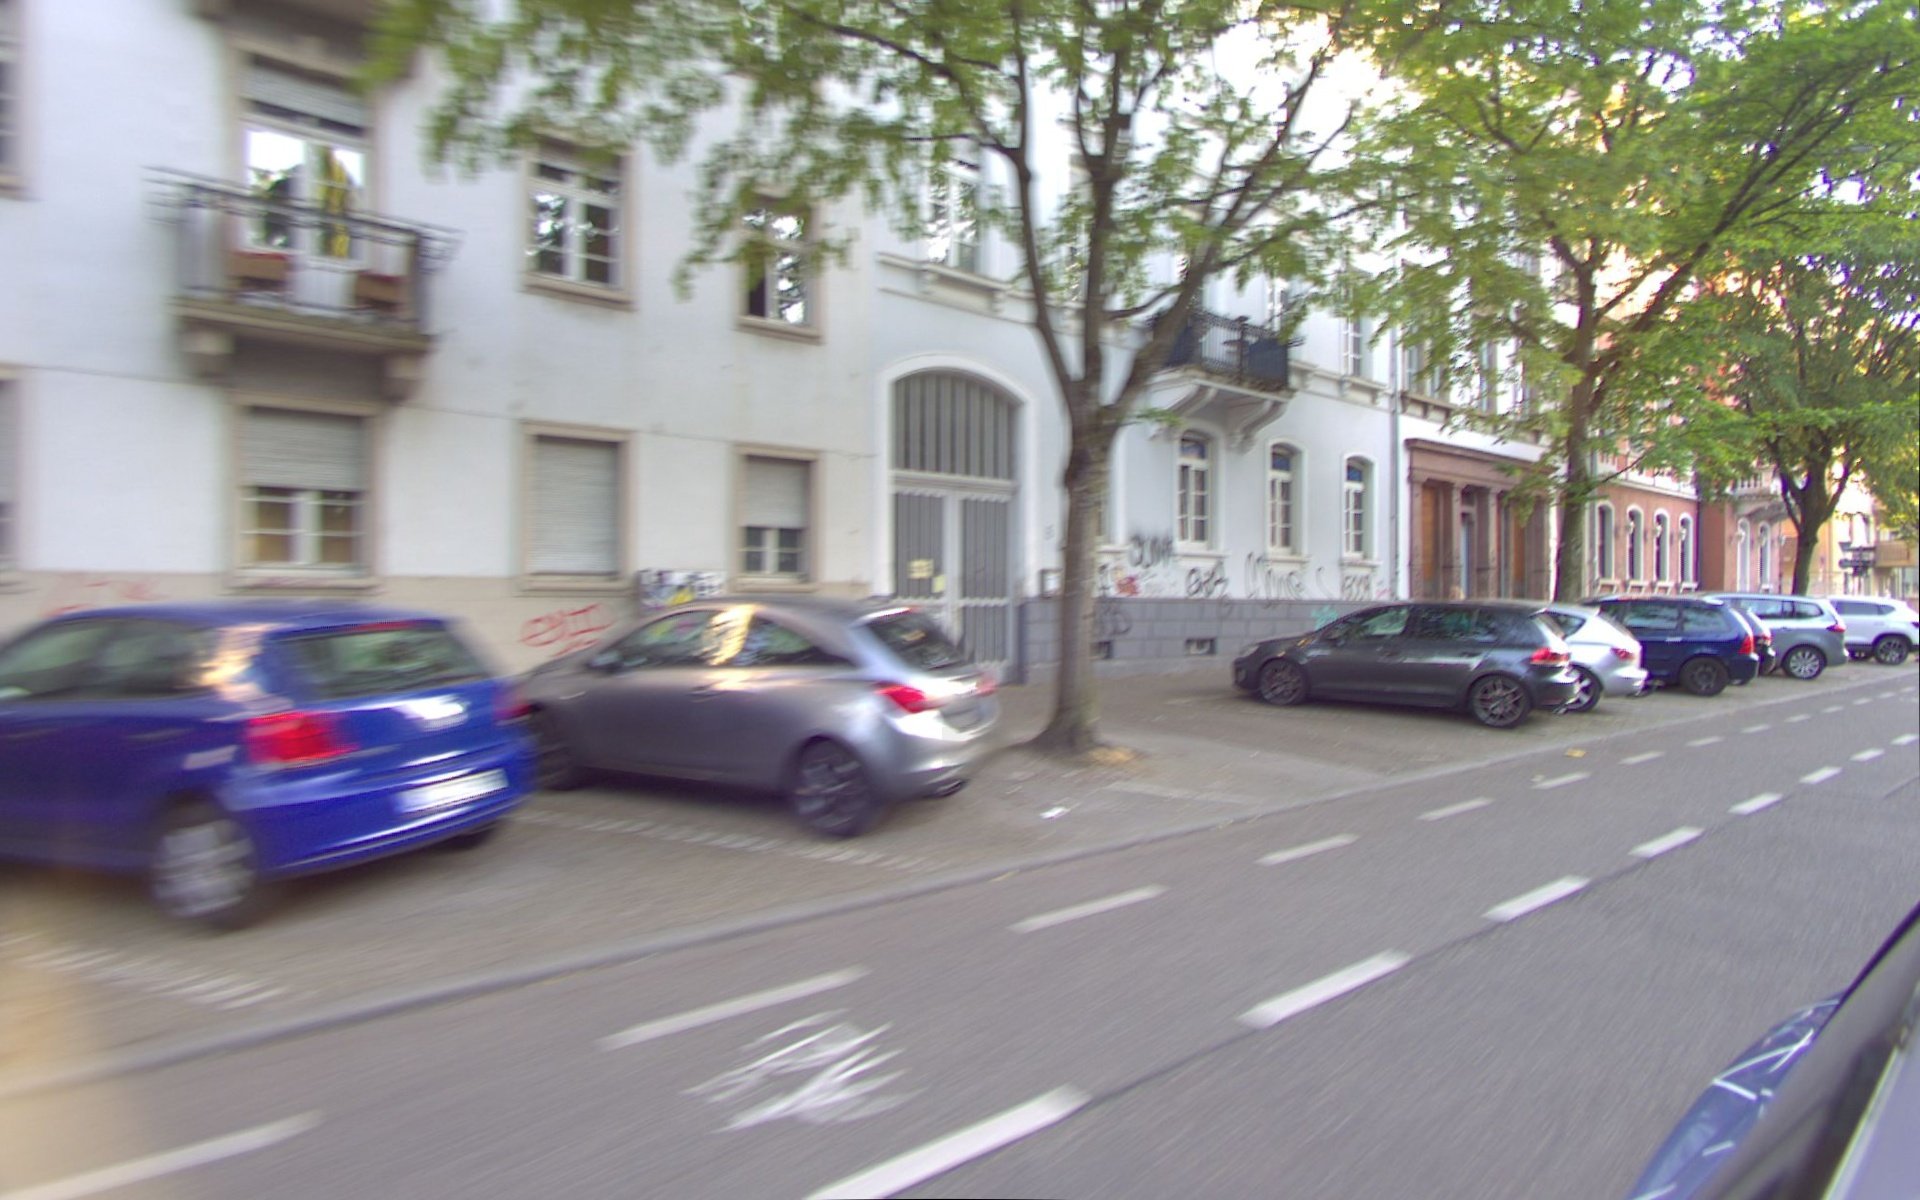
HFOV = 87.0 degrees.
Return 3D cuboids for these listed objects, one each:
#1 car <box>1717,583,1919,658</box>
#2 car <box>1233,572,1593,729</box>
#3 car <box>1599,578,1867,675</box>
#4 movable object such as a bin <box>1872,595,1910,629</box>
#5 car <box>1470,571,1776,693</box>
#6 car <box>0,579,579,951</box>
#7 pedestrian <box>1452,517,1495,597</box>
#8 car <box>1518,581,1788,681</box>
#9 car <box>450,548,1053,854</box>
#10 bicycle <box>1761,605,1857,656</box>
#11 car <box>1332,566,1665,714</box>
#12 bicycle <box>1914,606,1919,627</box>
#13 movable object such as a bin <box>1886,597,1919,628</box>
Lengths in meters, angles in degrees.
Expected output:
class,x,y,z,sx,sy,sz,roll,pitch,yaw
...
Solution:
class,x,y,z,sx,sy,sz,roll,pitch,yaw
car,21.896,0.487,25.696,3.910,1.647,1.661,3,1,22
car,5.798,0.519,13.149,3.934,1.623,1.815,3,2,38
car,15.731,0.473,20.873,3.906,1.689,1.890,3,2,20
movable object such as a bin,41.544,0.532,45.146,1.295,1.521,1.074,1,-1,-40
car,11.012,0.455,17.185,3.908,1.623,1.828,5,3,21
car,-4.119,0.655,5.536,3.603,1.462,1.651,1,2,18
pedestrian,10.701,-0.877,21.105,0.613,1.630,0.588,1,-1,-37
car,12.954,0.522,19.230,3.911,1.623,1.733,2,1,24
car,-1.479,0.531,7.344,3.908,1.623,1.828,3,1,22
bicycle,20.307,0.715,24.246,1.655,1.088,0.459,4,1,29
car,7.673,0.453,14.563,3.934,1.623,1.816,6,3,37
bicycle,51.387,0.874,53.884,1.528,1.088,0.652,0,-1,-38
movable object such as a bin,45.950,0.598,49.239,1.455,1.521,1.116,1,-1,-38
